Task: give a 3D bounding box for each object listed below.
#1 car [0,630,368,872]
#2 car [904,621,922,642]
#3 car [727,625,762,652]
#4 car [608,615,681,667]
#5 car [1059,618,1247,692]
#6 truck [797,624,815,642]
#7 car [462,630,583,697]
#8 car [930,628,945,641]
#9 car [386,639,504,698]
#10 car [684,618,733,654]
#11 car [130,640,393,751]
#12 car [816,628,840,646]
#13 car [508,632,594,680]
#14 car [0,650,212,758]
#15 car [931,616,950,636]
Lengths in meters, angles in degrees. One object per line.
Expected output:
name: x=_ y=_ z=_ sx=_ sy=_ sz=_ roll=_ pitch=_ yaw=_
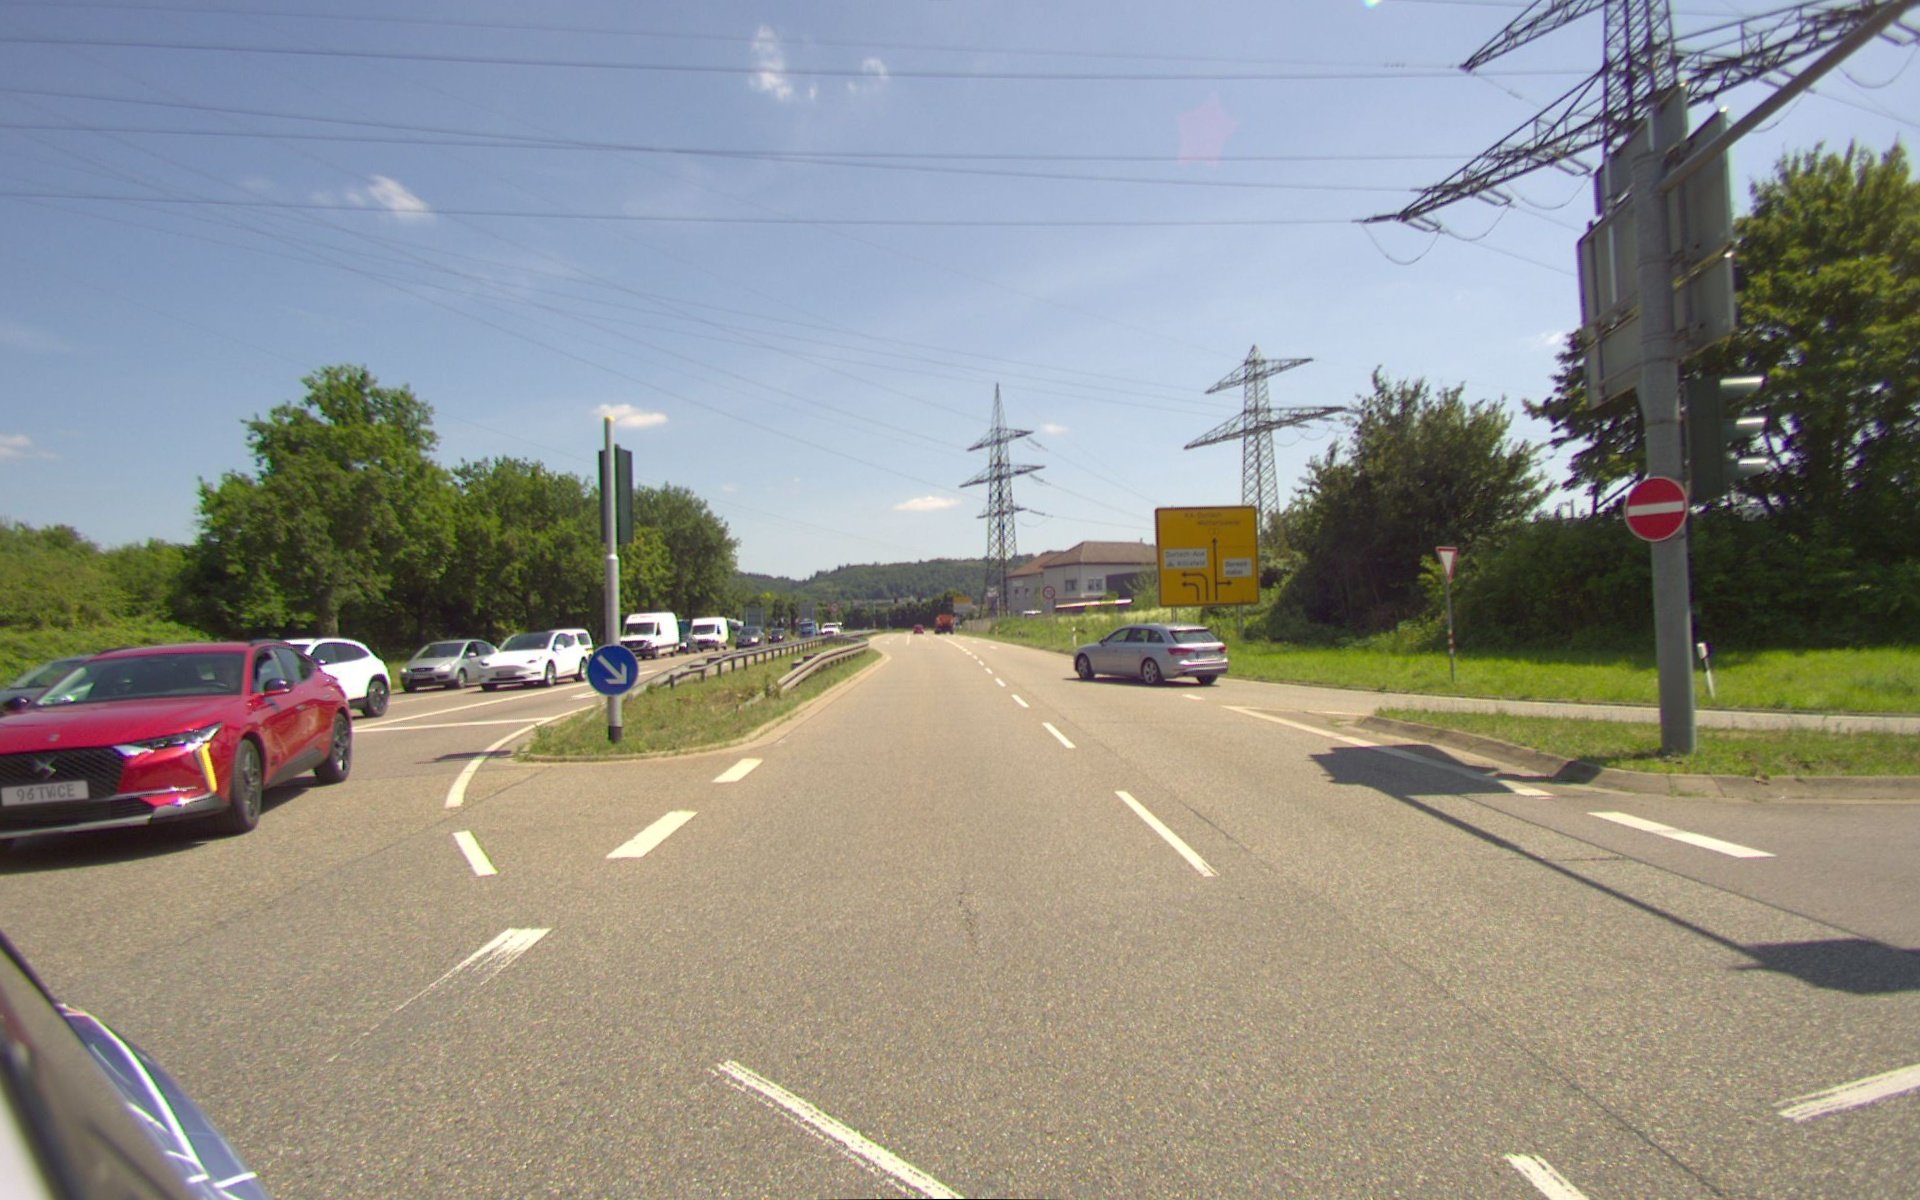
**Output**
car: x=-6.691 y=1.086 z=8.622 sx=1.816 sy=1.472 sz=4.427 roll=-3 pitch=-1 yaw=-17
car: x=-7.433 y=4.959 z=160.231 sx=2.570 sy=3.084 sz=5.643 roll=-2 pitch=-1 yaw=-4
car: x=-15.251 y=2.720 z=71.842 sx=1.851 sy=1.696 sz=4.004 roll=-4 pitch=-1 yaw=-5
car: x=-17.864 y=2.295 z=57.735 sx=2.201 sy=2.627 sz=7.023 roll=-4 pitch=-1 yaw=-3
car: x=4.542 y=1.251 z=24.582 sx=2.013 sy=1.588 sz=4.680 roll=0 pitch=-1 yaw=-28
truck: x=-22.312 y=4.750 z=146.551 sx=2.139 sy=2.460 sz=4.916 roll=-4 pitch=-1 yaw=-5
car: x=-12.788 y=1.791 z=29.837 sx=1.993 sy=1.694 sz=4.003 roll=-4 pitch=-1 yaw=-4
car: x=-3.679 y=5.584 z=165.390 sx=1.969 sy=1.929 sz=4.006 roll=-4 pitch=-1 yaw=-7
car: x=-16.525 y=2.152 z=32.714 sx=1.723 sy=1.606 sz=4.274 roll=-4 pitch=-1 yaw=-3
car: x=-18.545 y=2.618 z=74.927 sx=2.277 sy=2.441 sz=5.816 roll=-4 pitch=-1 yaw=-2
car: x=-12.359 y=1.602 z=18.315 sx=1.825 sy=1.580 sz=4.365 roll=-4 pitch=-1 yaw=-3
car: x=-13.310 y=3.737 z=102.264 sx=1.971 sy=1.776 sz=4.001 roll=-2 pitch=-1 yaw=-1
car: x=-17.346 y=2.331 z=43.199 sx=1.784 sy=1.814 sz=5.041 roll=-4 pitch=-1 yaw=-3
car: x=-15.912 y=1.804 z=18.336 sx=1.745 sy=1.608 sz=4.167 roll=-3 pitch=-2 yaw=-2
car: x=-3.086 y=4.027 z=156.445 sx=2.570 sy=3.084 sz=5.643 roll=-2 pitch=-2 yaw=-4
